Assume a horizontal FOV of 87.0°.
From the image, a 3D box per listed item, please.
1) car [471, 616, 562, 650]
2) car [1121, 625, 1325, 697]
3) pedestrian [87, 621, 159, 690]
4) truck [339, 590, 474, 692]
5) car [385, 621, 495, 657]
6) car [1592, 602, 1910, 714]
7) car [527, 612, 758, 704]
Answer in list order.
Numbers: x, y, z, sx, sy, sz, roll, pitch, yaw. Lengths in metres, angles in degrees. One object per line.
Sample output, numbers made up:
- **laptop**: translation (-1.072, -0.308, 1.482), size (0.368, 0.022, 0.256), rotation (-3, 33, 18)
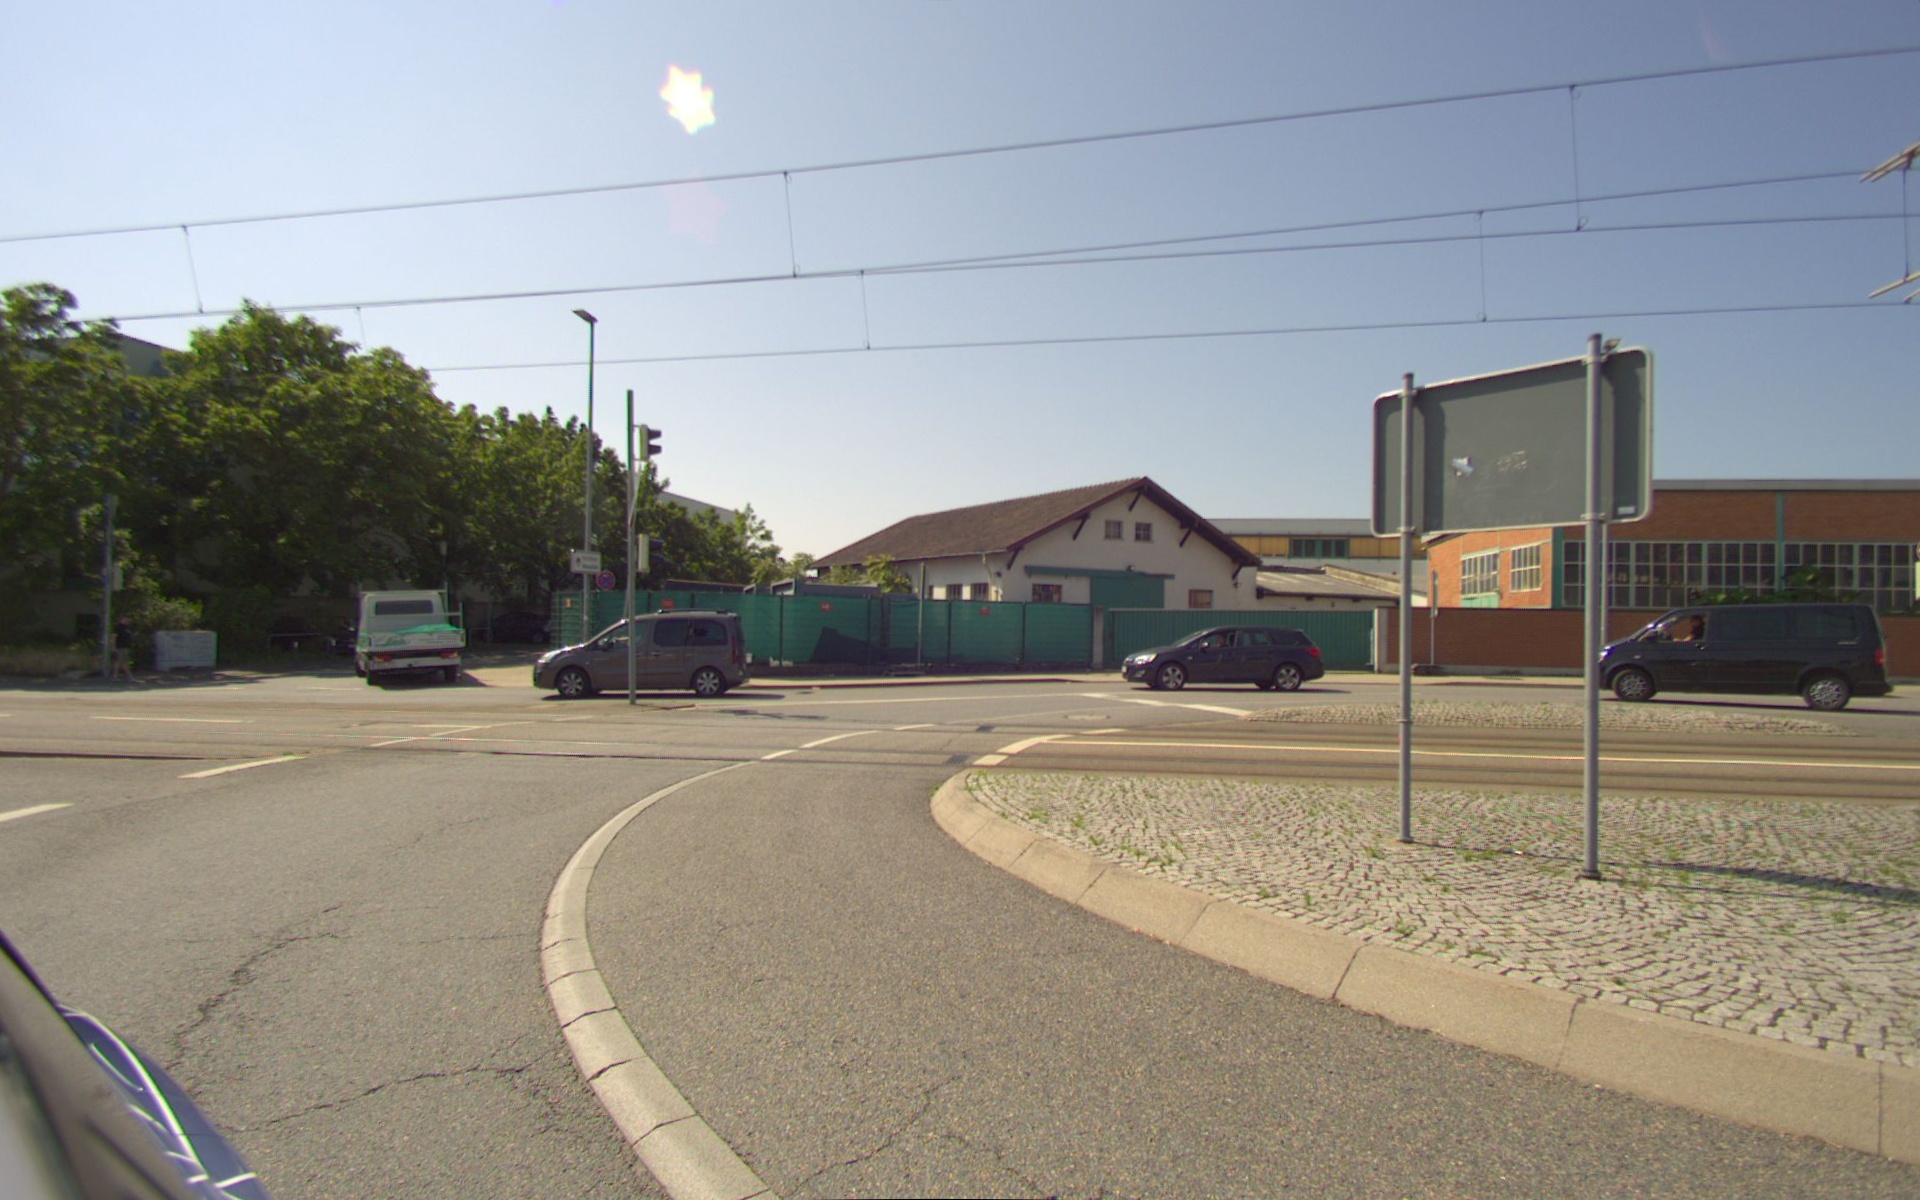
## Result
- **car**: translation (-21.771, 1.633, 49.744), size (3.817, 1.650, 1.624), rotation (0, -2, 4)
- **car**: translation (6.026, 1.398, 23.597), size (4.184, 1.568, 1.969), rotation (-1, -2, 1)
- **pedestrian**: translation (-21.615, 1.418, 26.155), size (1.147, 1.683, 0.886), rotation (0, 2, 9)
- **truck**: translation (-14.646, 0.999, 26.558), size (2.174, 2.355, 6.403), rotation (1, -1, -37)
- **car**: translation (-21.590, 1.619, 42.163), size (3.802, 1.478, 1.630), rotation (1, -2, -14)
- **car**: translation (15.214, 1.080, 19.724), size (4.636, 1.925, 2.070), rotation (-2, -3, 41)
- **car**: translation (-6.532, 1.182, 21.270), size (4.341, 1.832, 1.992), rotation (0, -2, -6)
